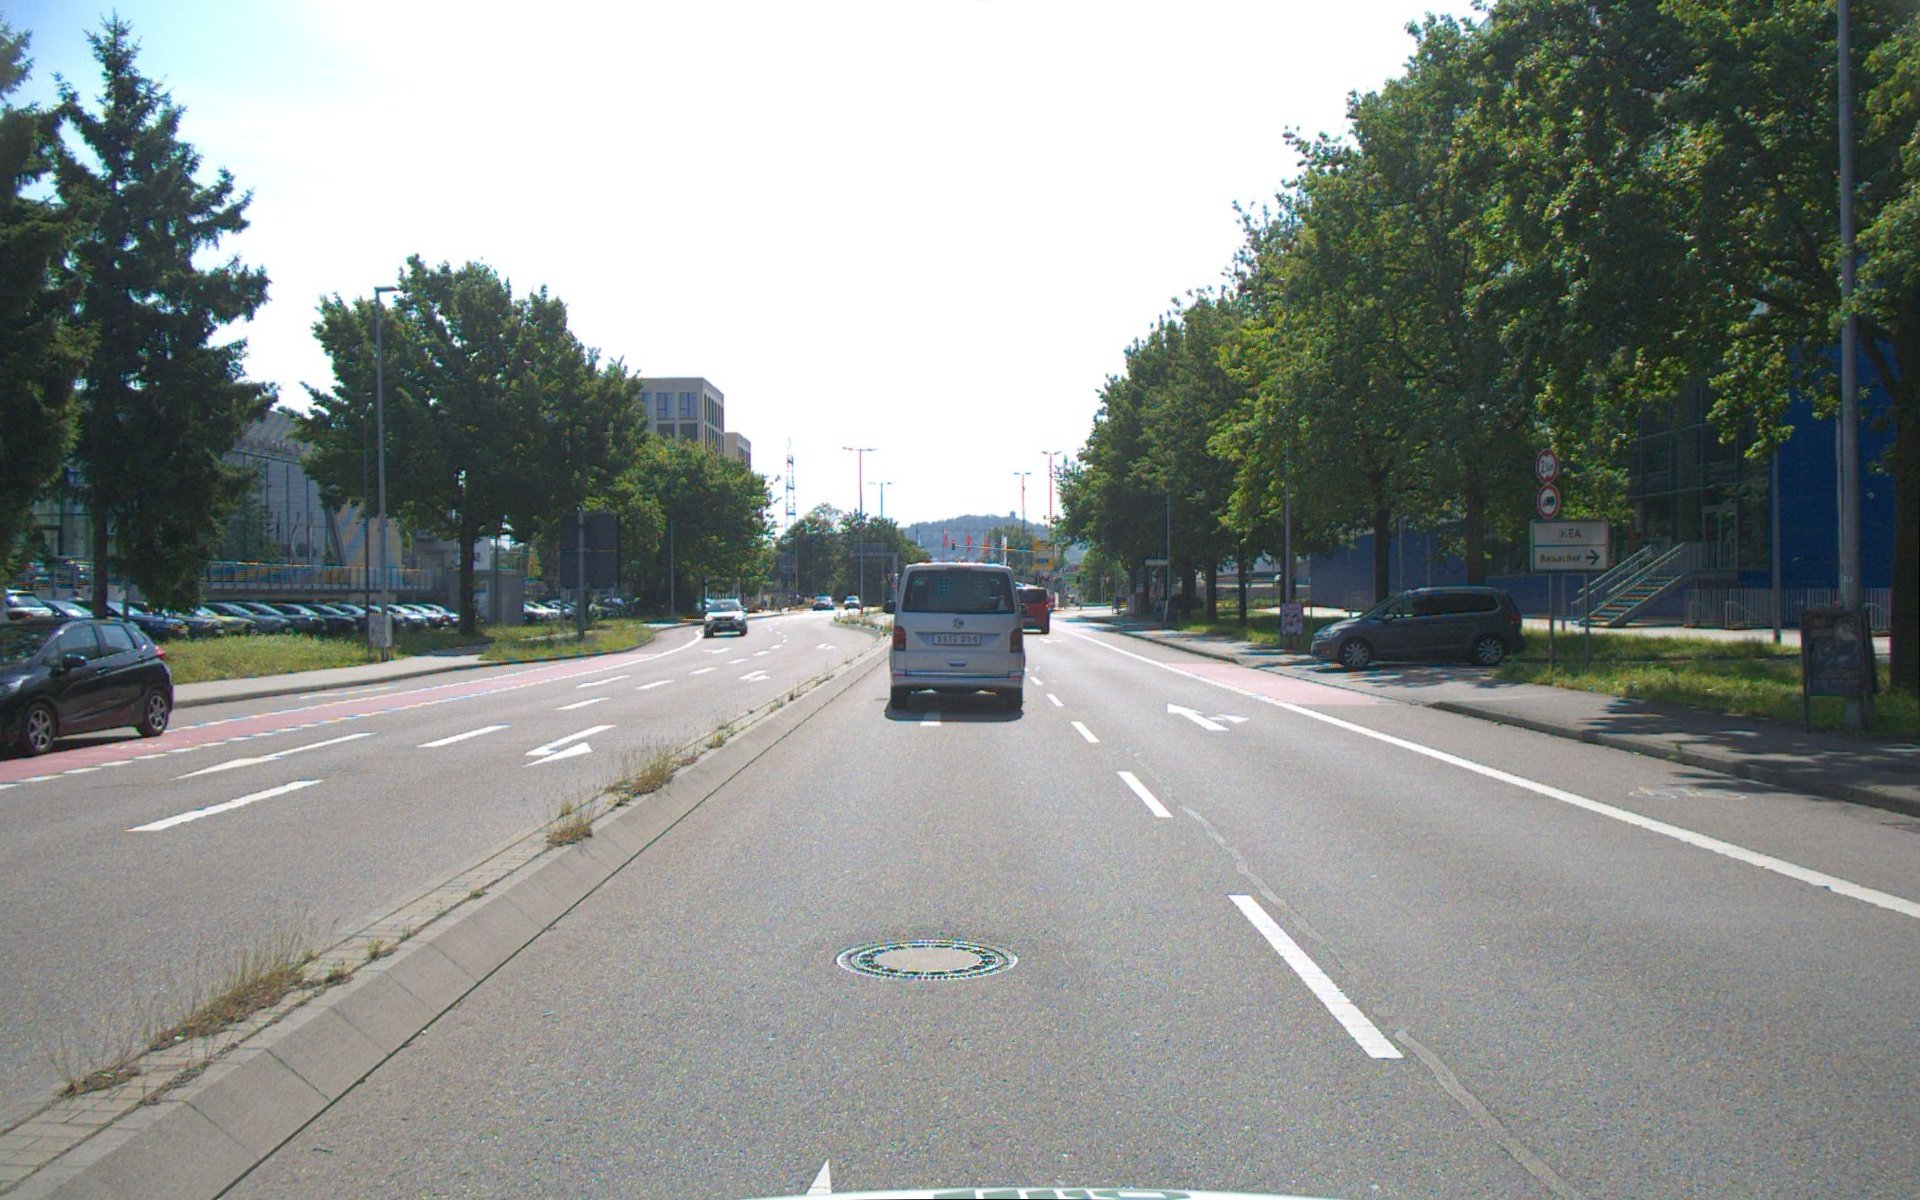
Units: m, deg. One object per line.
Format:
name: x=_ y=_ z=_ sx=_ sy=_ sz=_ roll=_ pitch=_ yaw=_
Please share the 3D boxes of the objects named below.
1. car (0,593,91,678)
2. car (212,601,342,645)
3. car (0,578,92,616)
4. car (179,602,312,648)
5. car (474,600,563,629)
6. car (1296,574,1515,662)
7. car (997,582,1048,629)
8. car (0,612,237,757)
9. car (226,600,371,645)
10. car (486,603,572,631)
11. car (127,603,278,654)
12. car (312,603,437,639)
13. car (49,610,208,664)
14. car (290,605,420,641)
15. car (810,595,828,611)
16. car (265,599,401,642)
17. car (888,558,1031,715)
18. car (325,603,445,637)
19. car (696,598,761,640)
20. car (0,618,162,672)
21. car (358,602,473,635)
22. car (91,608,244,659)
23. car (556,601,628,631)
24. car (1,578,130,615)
car: x=-22.934 y=0.786 z=38.450 sx=4.371 sy=1.908 sz=2.000 roll=1 pitch=0 yaw=0
car: x=-23.489 y=0.780 z=56.987 sx=3.606 sy=1.307 sz=1.985 roll=-3 pitch=0 yaw=-2
car: x=-38.432 y=-0.137 z=68.645 sx=3.906 sy=1.522 sz=1.668 roll=1 pitch=0 yaw=-1
car: x=-23.507 y=0.812 z=54.505 sx=3.522 sy=1.307 sz=1.864 roll=-3 pitch=0 yaw=-2
car: x=-23.103 y=0.740 z=86.625 sx=4.091 sy=1.176 sz=2.086 roll=-4 pitch=1 yaw=-3
car: x=9.671 y=0.387 z=36.165 sx=4.350 sy=1.723 sz=1.846 roll=-2 pitch=0 yaw=6
car: x=2.730 y=0.227 z=73.124 sx=1.928 sy=2.002 sz=5.124 roll=0 pitch=0 yaw=-1
car: x=-10.834 y=0.996 z=20.825 sx=1.663 sy=1.545 sz=4.026 roll=-3 pitch=0 yaw=-1
car: x=-23.893 y=0.805 z=59.882 sx=4.409 sy=1.502 sz=1.979 roll=-1 pitch=0 yaw=-3
car: x=-23.453 y=0.922 z=90.115 sx=4.091 sy=1.211 sz=1.954 roll=-4 pitch=1 yaw=-3
car: x=-23.700 y=0.877 z=51.837 sx=3.809 sy=1.363 sz=1.839 roll=-3 pitch=0 yaw=-2
car: x=-23.773 y=0.840 z=67.254 sx=4.409 sy=1.312 sz=1.919 roll=-1 pitch=0 yaw=-3
car: x=-23.410 y=1.025 z=46.651 sx=3.522 sy=1.307 sz=1.744 roll=-3 pitch=0 yaw=-2
car: x=-23.815 y=0.896 z=65.251 sx=4.409 sy=1.312 sz=1.919 roll=-1 pitch=0 yaw=-3
car: x=-15.802 y=0.356 z=185.690 sx=1.704 sy=1.646 sz=4.207 roll=-4 pitch=0 yaw=-3
car: x=-23.697 y=0.777 z=62.624 sx=4.409 sy=1.502 sz=1.919 roll=-1 pitch=0 yaw=-3
car: x=-0.019 y=0.459 z=23.456 sx=1.846 sy=2.025 sz=4.000 roll=0 pitch=0 yaw=0
car: x=-24.188 y=0.826 z=69.684 sx=4.409 sy=1.312 sz=1.691 roll=-1 pitch=0 yaw=-3
car: x=-10.082 y=0.805 z=72.222 sx=1.952 sy=1.646 sz=4.106 roll=-2 pitch=0 yaw=4
car: x=-22.841 y=1.148 z=42.603 sx=3.715 sy=1.307 sz=1.744 roll=0 pitch=0 yaw=-3
car: x=-23.835 y=0.792 z=72.513 sx=4.409 sy=1.312 sz=1.919 roll=-1 pitch=0 yaw=-3
car: x=-23.535 y=0.984 z=49.207 sx=3.667 sy=1.307 sz=1.662 roll=-3 pitch=0 yaw=-3
car: x=-22.901 y=0.986 z=103.070 sx=3.906 sy=1.467 sz=2.000 roll=-5 pitch=0 yaw=0
car: x=-38.436 y=-0.157 z=71.107 sx=4.427 sy=1.522 sz=1.986 roll=1 pitch=0 yaw=-1
